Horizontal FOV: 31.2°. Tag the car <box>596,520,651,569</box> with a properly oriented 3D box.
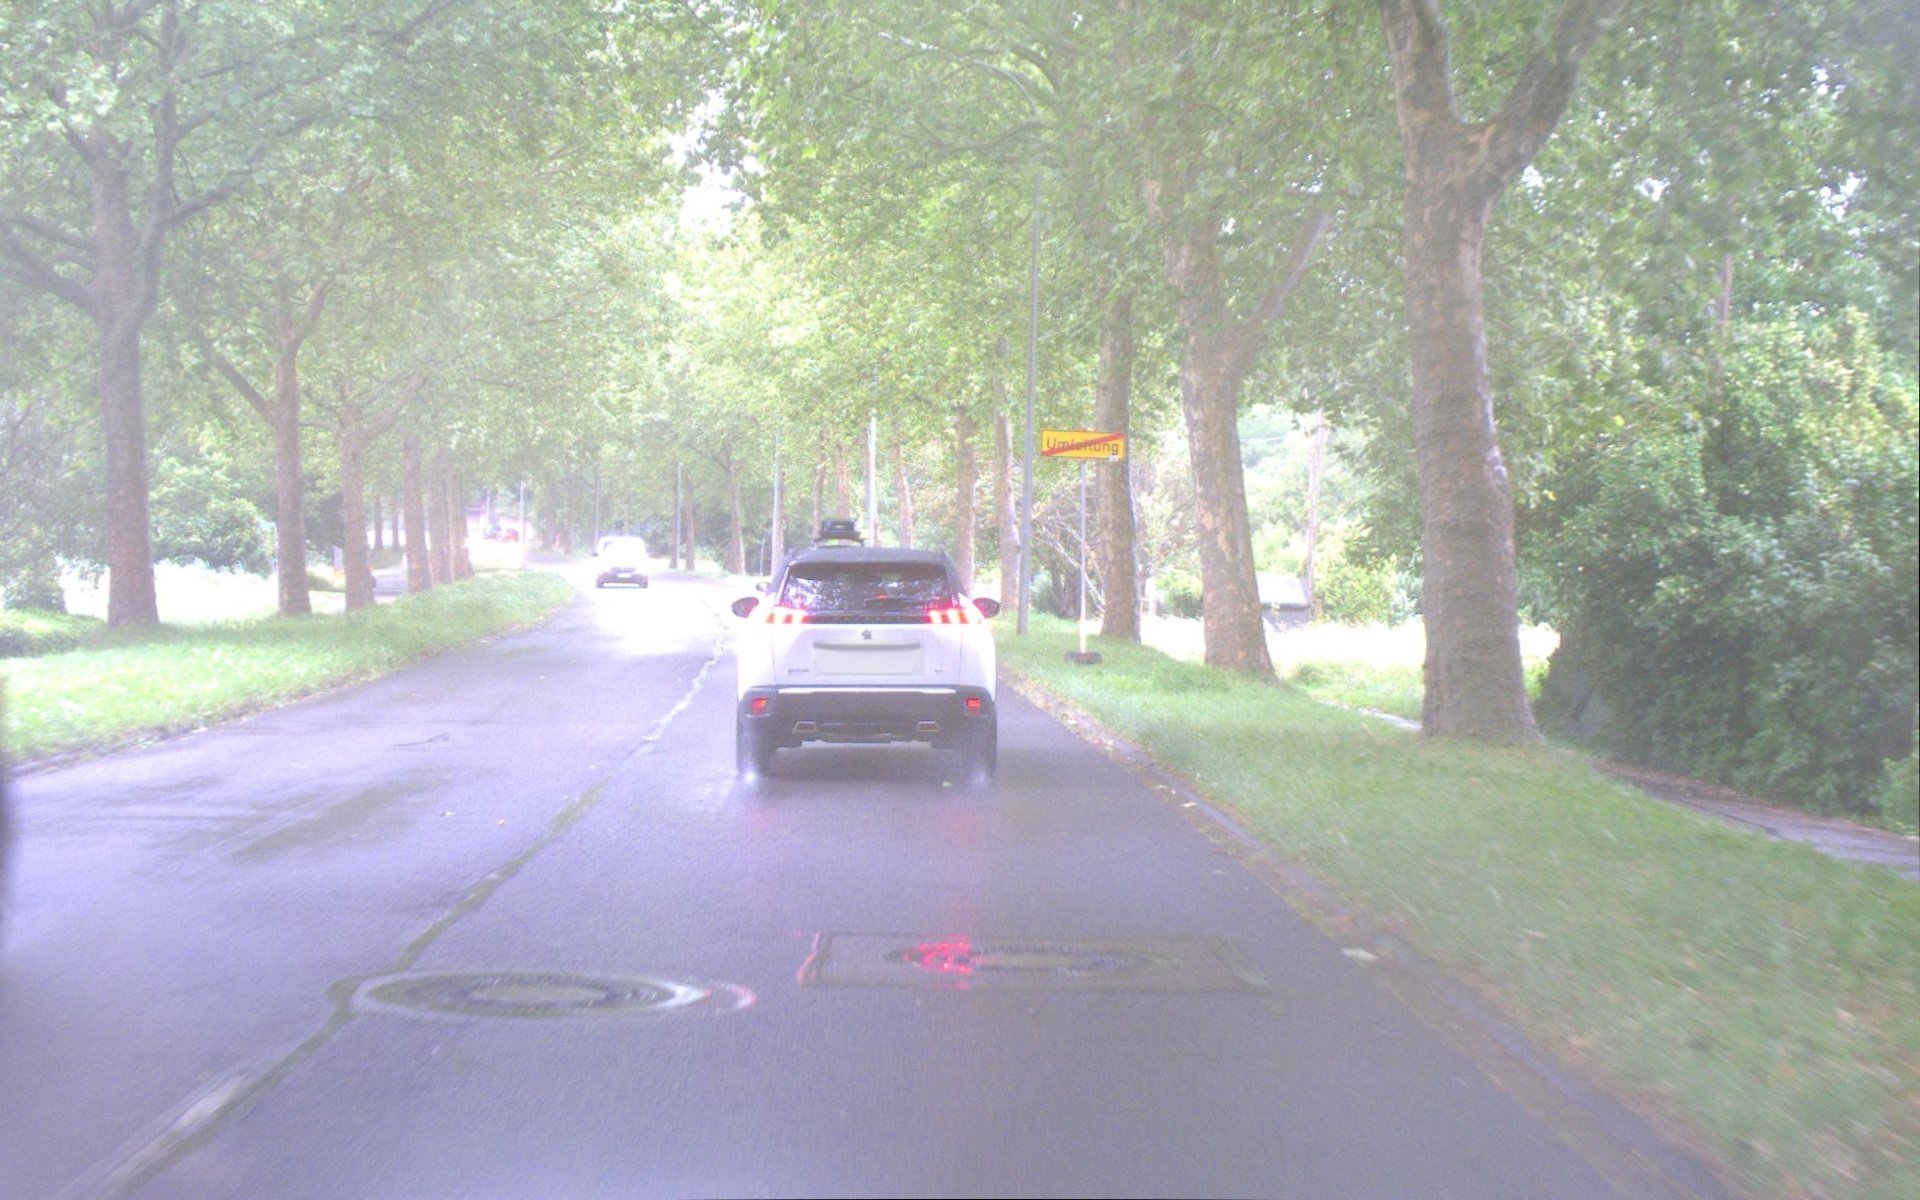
[{"bbox_3d":[-12.651,-2.080,129.407,1.862,1.744,5.016,2,1,-4],"label":"car"}]

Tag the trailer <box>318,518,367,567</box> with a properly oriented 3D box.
[{"bbox_3d":[-33.546,-3.148,186.851,2.484,2.558,5.334,2,1,-10],"label":"trailer"}]

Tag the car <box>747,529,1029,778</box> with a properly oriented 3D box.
[{"bbox_3d":[-0.485,0.311,24.382,1.794,1.573,3.844,2,1,0],"label":"car"}]

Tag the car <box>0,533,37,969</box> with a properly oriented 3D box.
[{"bbox_3d":[-4.093,0.514,10.172,1.845,1.497,4.001,2,1,-4],"label":"car"}]
